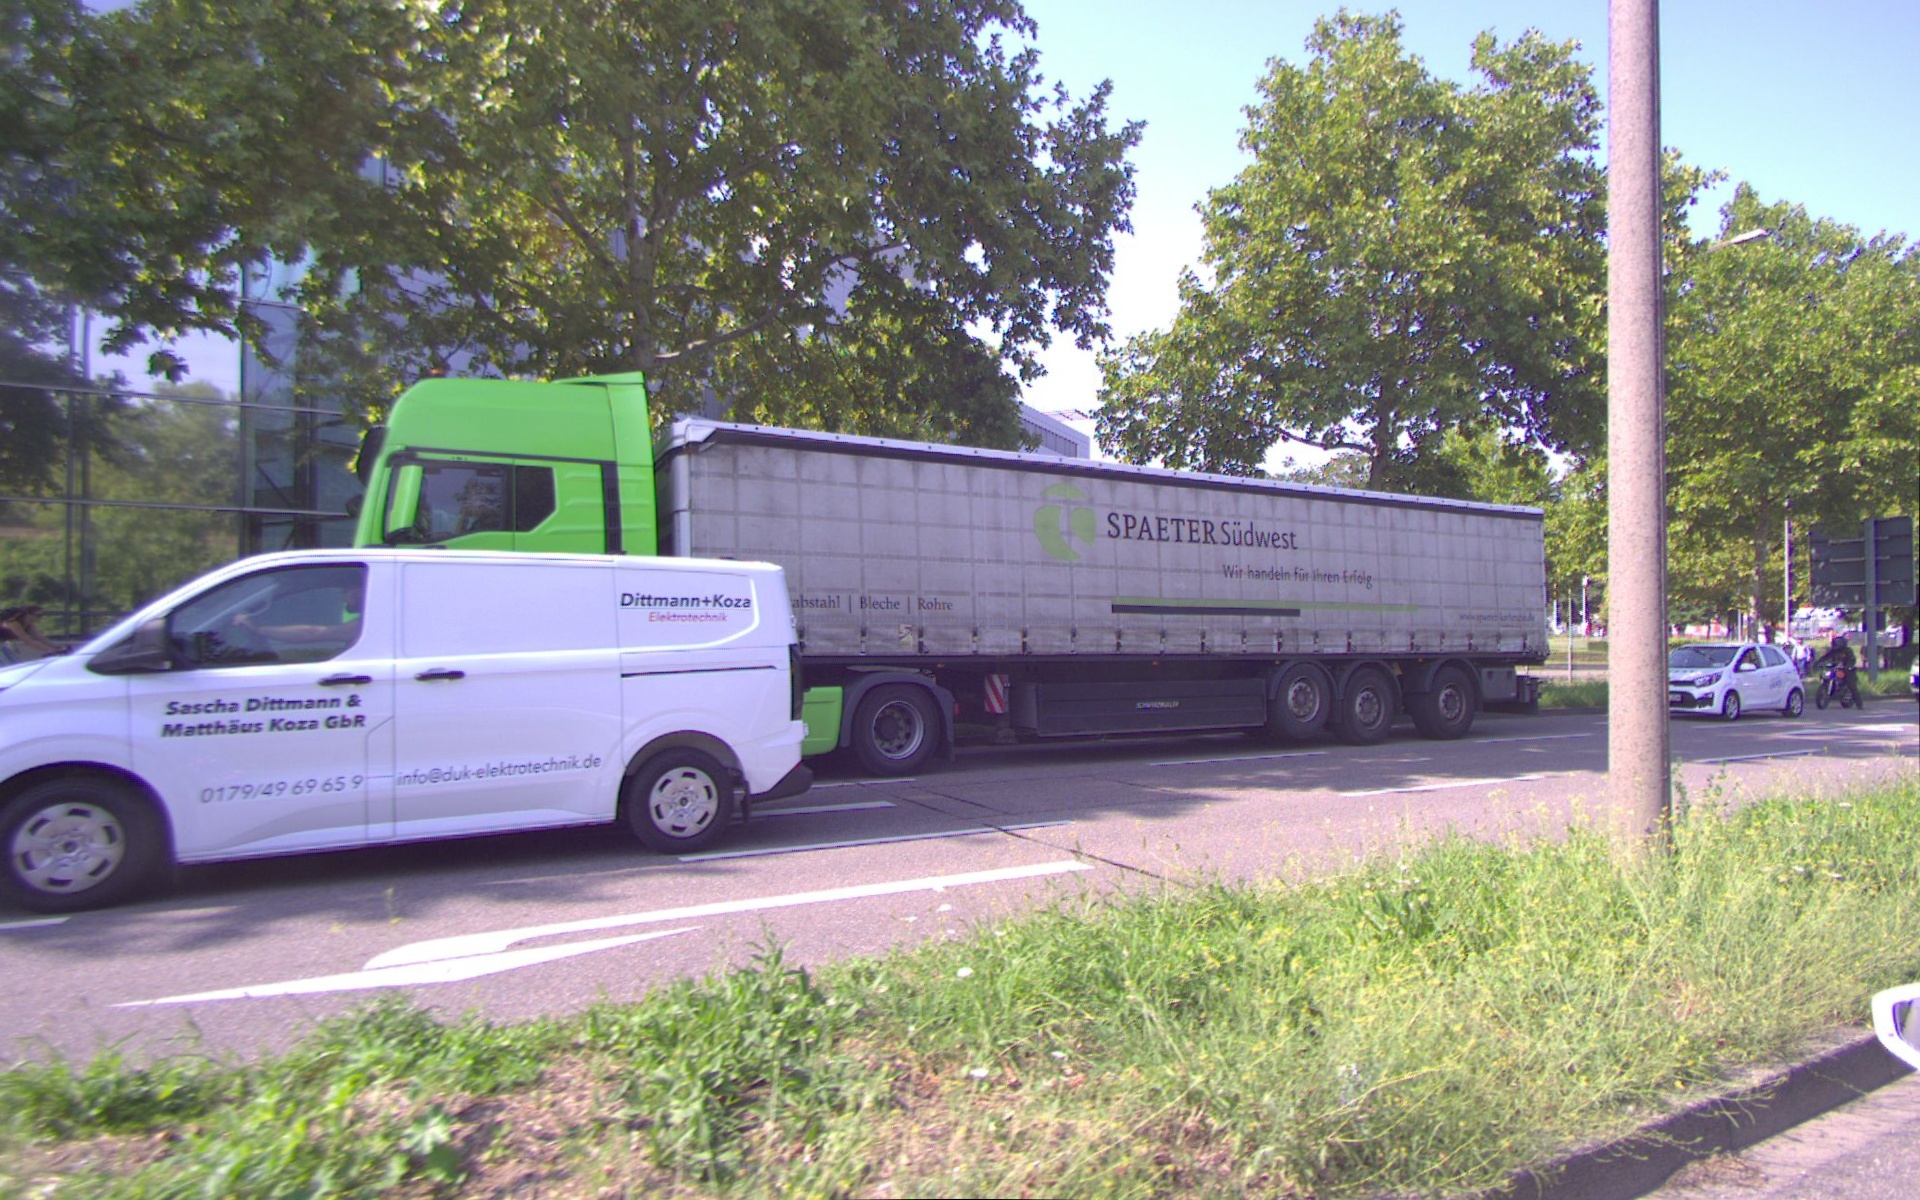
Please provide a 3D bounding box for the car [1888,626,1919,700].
[{"bbox_3d":[26.532,1.622,26.111,4.906,1.882,1.978,1,-4,-28],"label":"car"}]

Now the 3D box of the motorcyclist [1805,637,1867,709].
[{"bbox_3d":[19.788,1.639,22.704,0.910,1.574,0.775,1,-1,-26],"label":"motorcyclist"}]

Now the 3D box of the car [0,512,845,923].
[{"bbox_3d":[-3.437,0.646,6.623,4.973,1.979,1.986,1,-3,-28],"label":"car"}]

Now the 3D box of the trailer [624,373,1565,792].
[{"bbox_3d":[2.758,0.049,13.634,13.638,3.871,2.624,1,-4,-28],"label":"trailer"}]

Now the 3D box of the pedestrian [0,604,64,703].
[{"bbox_3d":[-13.316,0.746,14.071,1.019,1.367,0.496,1,-1,-28],"label":"pedestrian"}]

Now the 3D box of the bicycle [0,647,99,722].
[{"bbox_3d":[-13.309,1.172,14.071,1.809,1.021,0.501,1,-1,-28],"label":"bicycle"}]

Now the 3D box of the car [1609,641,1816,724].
[{"bbox_3d":[14.849,1.575,19.816,3.781,1.498,1.741,1,-3,-27],"label":"car"}]

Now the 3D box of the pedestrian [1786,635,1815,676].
[{"bbox_3d":[35.216,2.304,42.079,0.922,1.674,0.614,1,-1,-28],"label":"pedestrian"}]

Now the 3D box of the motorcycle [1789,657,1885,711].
[{"bbox_3d":[19.878,1.878,22.745,2.435,1.122,0.792,1,-1,-27],"label":"motorcycle"}]

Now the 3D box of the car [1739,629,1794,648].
[{"bbox_3d":[79.413,3.784,98.962,3.923,1.701,1.869,0,-1,24],"label":"car"}]

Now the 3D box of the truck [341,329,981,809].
[{"bbox_3d":[-2.942,-0.131,10.595,5.817,3.869,2.598,1,-3,-28],"label":"truck"}]
